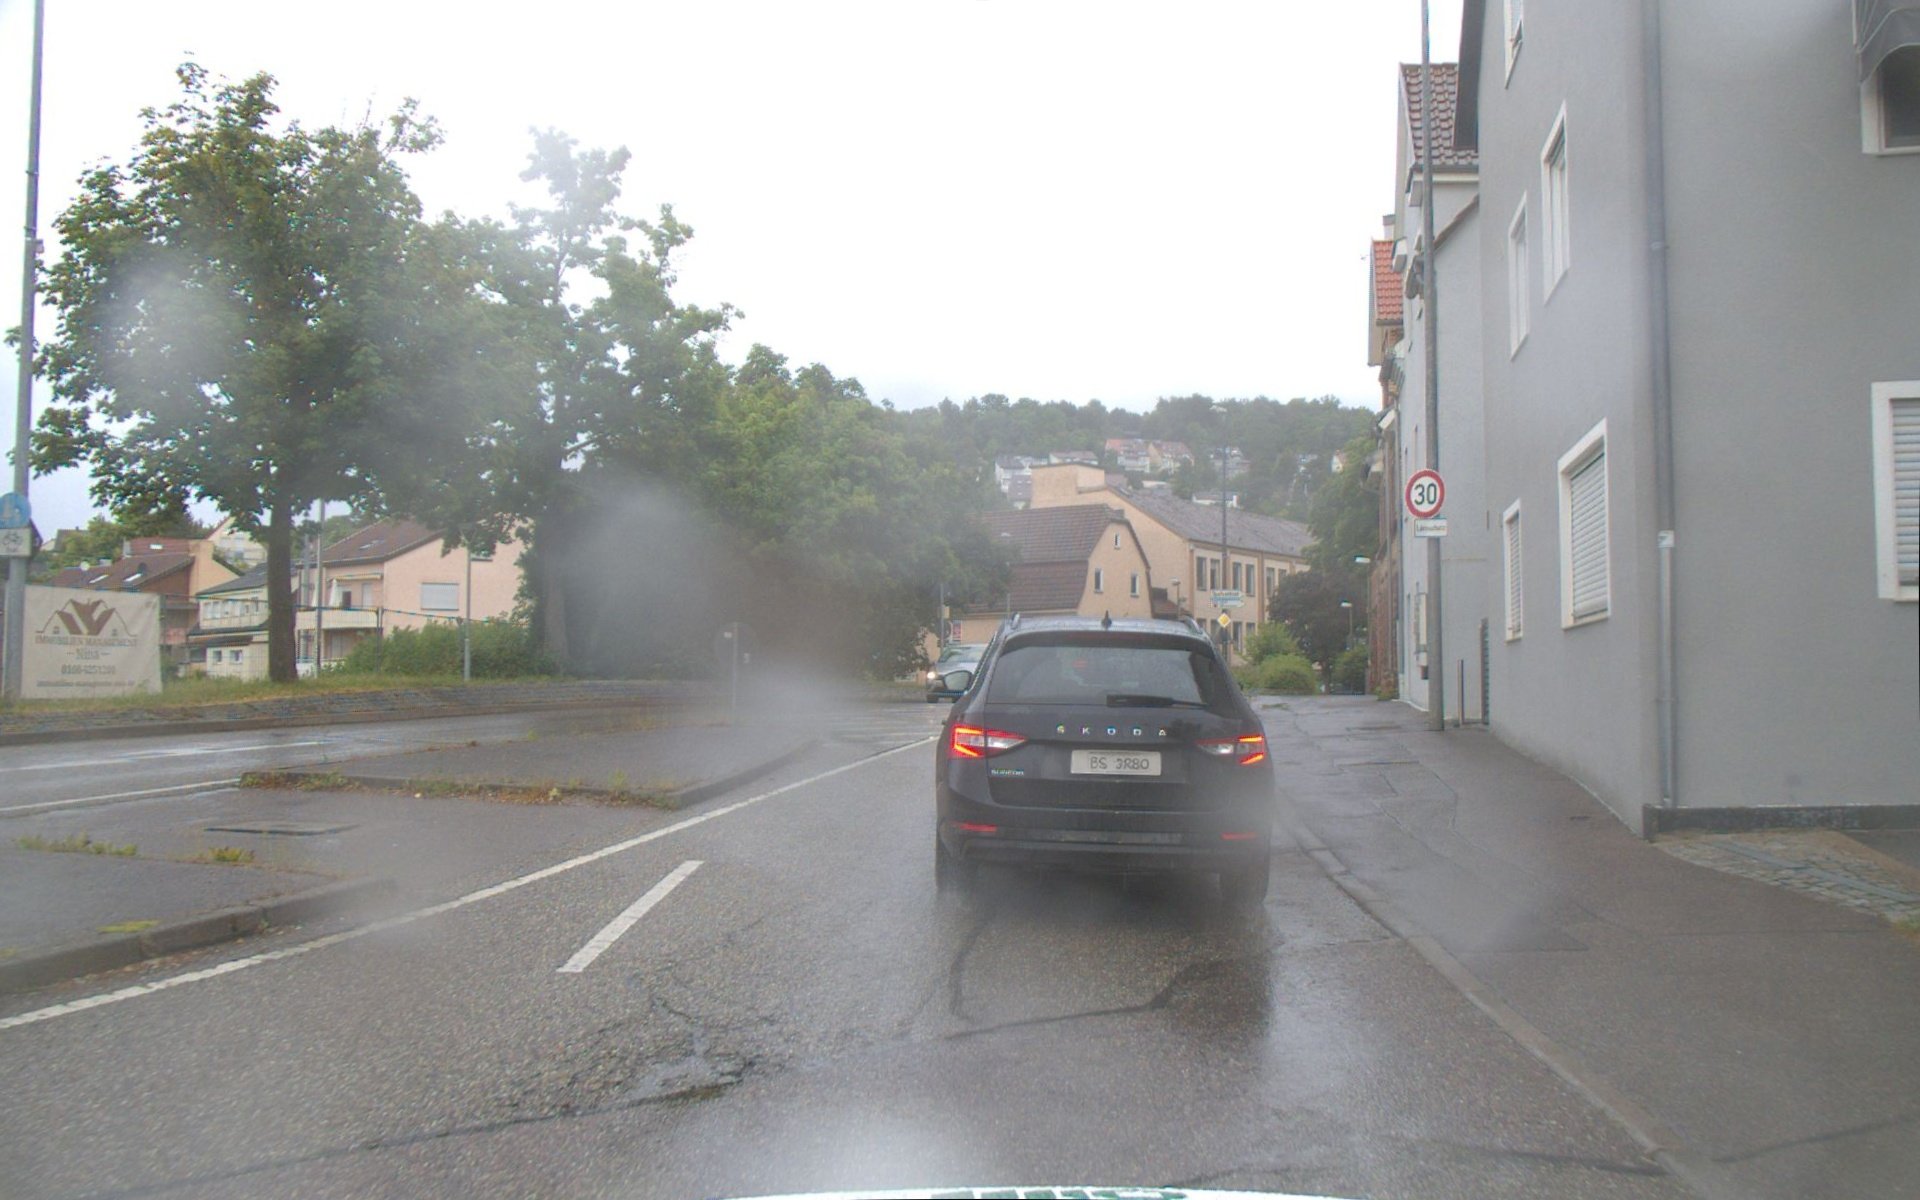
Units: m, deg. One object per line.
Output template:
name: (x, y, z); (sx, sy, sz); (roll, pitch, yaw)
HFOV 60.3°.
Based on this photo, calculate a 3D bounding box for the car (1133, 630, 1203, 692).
car: (5.283, 1.500, 41.614); (1.617, 1.411, 3.922); (1, 0, 9)

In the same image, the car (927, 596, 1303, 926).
car: (0.821, 0.778, 9.970); (1.745, 1.509, 4.247); (2, 0, 2)

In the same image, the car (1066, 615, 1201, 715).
car: (2.679, 1.039, 24.873); (1.779, 1.384, 3.992); (-1, -4, 9)

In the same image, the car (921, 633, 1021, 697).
car: (0.347, 1.683, 43.082); (1.609, 1.579, 4.157); (0, -2, 15)
